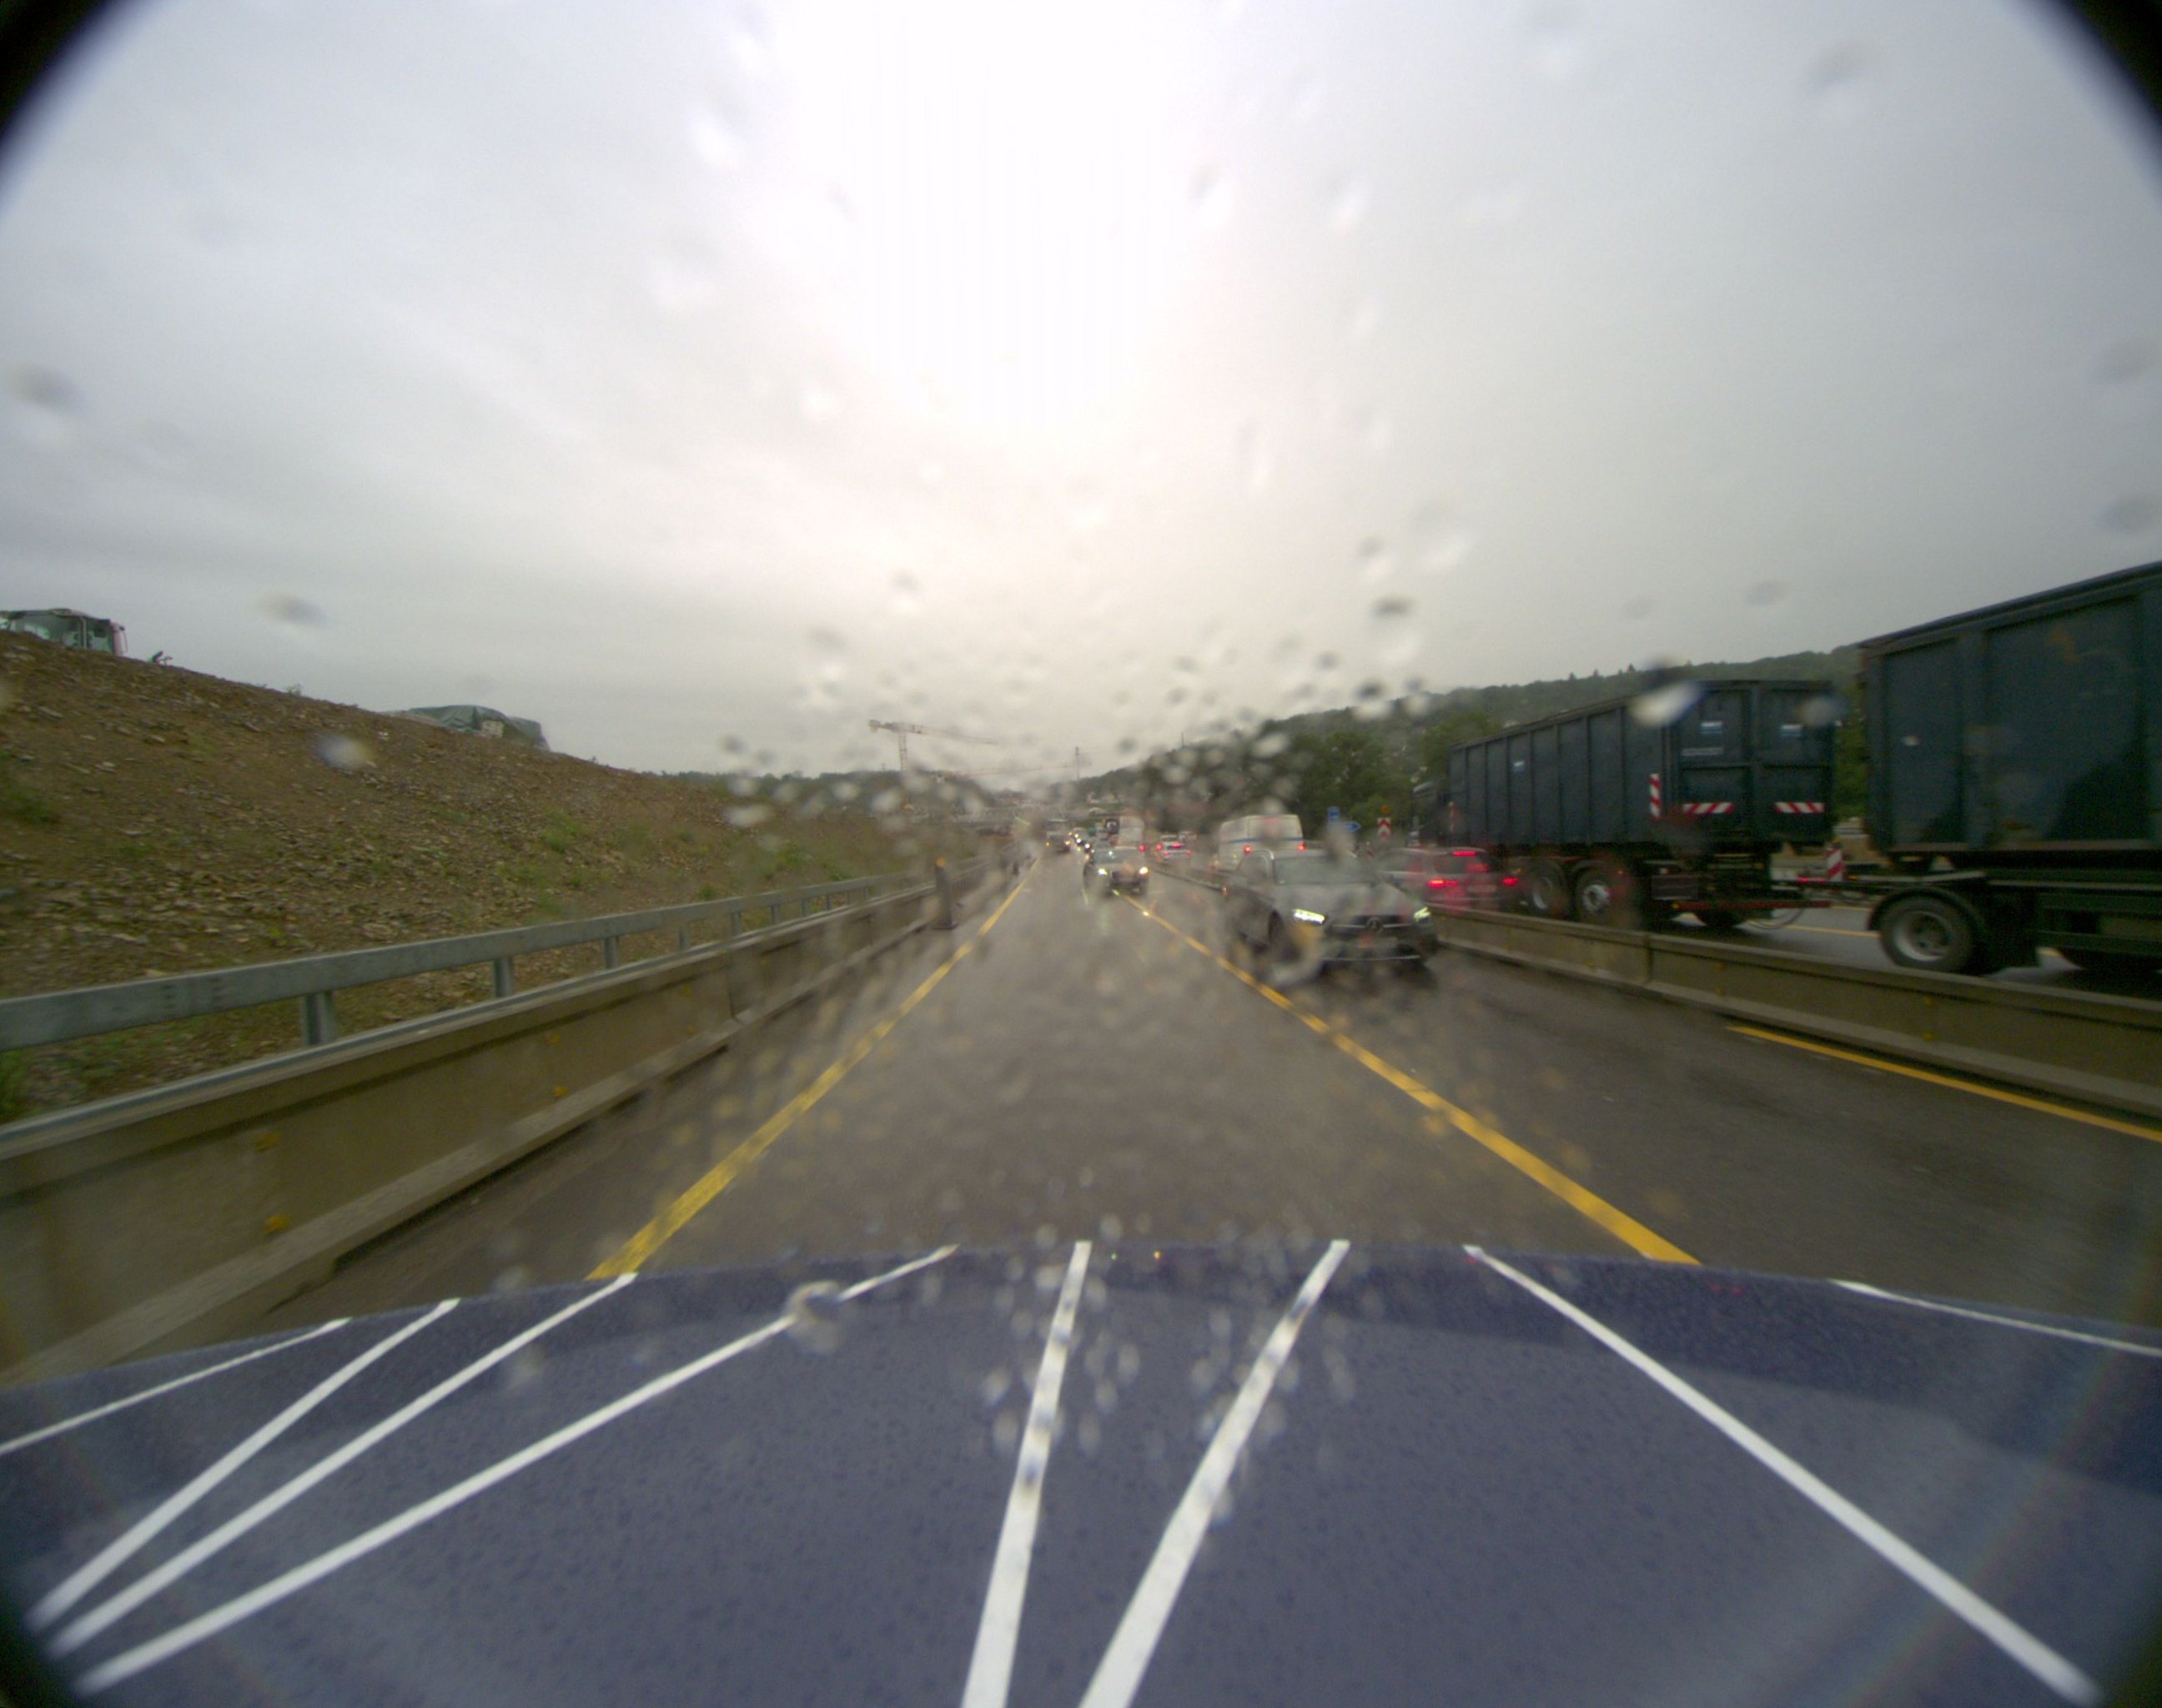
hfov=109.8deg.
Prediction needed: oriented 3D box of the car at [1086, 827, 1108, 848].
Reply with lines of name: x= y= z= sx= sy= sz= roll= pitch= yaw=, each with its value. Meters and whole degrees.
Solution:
car: x=1.542 y=-1.642 z=76.076 sx=1.999 sy=2.002 sz=3.999 roll=-2 pitch=1 yaw=-1

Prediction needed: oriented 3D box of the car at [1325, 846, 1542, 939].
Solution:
car: x=6.556 y=0.609 z=14.813 sx=1.874 sy=1.463 sz=4.669 roll=-2 pitch=1 yaw=-3

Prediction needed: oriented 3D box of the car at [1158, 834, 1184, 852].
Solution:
car: x=8.472 y=-1.072 z=71.835 sx=1.793 sy=1.538 sz=3.998 roll=-2 pitch=2 yaw=-2

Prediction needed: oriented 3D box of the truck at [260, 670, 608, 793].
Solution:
truck: x=-19.973 y=-3.607 z=24.669 sx=3.404 sy=2.859 sz=8.955 roll=-1 pitch=3 yaw=1

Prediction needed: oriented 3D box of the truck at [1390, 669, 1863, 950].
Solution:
truck: x=9.724 y=-0.663 z=15.486 sx=2.649 sy=3.947 sz=9.210 roll=-2 pitch=0 yaw=-3

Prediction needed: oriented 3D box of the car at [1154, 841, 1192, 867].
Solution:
car: x=5.703 y=-0.035 z=47.508 sx=1.681 sy=1.515 sz=4.343 roll=-1 pitch=1 yaw=-2

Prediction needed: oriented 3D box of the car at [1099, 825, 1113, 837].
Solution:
car: x=3.959 y=-3.630 z=118.856 sx=1.871 sy=1.790 sz=4.160 roll=-2 pitch=3 yaw=-2

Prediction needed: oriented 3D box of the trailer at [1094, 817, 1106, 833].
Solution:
trailer: x=4.874 y=-7.656 z=198.645 sx=2.693 sy=3.942 sz=9.812 roll=0 pitch=3 yaw=-2

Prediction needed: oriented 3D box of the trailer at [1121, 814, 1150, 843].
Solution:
trailer: x=7.516 y=-3.649 z=106.725 sx=2.627 sy=3.658 sz=11.995 roll=-2 pitch=3 yaw=-2

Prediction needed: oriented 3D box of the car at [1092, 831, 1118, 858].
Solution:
car: x=1.949 y=-0.794 z=60.699 sx=1.998 sy=2.002 sz=3.999 roll=-1 pitch=2 yaw=3

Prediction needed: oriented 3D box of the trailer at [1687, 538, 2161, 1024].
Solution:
trailer: x=10.185 y=-0.620 z=5.971 sx=2.753 sy=3.947 sz=9.671 roll=-2 pitch=0 yaw=-3

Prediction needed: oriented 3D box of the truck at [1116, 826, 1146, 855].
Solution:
truck: x=4.724 y=-1.386 z=72.562 sx=2.084 sy=2.562 sz=5.957 roll=-2 pitch=3 yaw=-3

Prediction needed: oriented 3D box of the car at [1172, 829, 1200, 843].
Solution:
car: x=13.972 y=-2.431 z=101.245 sx=1.851 sy=1.691 sz=5.036 roll=-2 pitch=3 yaw=-16

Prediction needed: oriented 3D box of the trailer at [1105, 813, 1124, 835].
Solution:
trailer: x=6.617 y=-6.002 z=151.714 sx=2.757 sy=4.020 sz=15.348 roll=-2 pitch=3 yaw=-1

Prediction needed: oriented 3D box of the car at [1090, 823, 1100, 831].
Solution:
car: x=3.090 y=-5.910 z=165.382 sx=1.999 sy=1.749 sz=4.684 roll=-2 pitch=3 yaw=-1

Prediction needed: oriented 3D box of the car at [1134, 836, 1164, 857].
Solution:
car: x=5.353 y=-0.652 z=60.110 sx=1.791 sy=1.530 sz=4.309 roll=-1 pitch=2 yaw=-2

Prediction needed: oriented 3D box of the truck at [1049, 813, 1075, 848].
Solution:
truck: x=-1.964 y=-2.540 z=80.152 sx=2.576 sy=3.452 sz=6.622 roll=-2 pitch=3 yaw=-1

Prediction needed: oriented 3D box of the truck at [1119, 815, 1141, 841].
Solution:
truck: x=7.267 y=-3.945 z=113.345 sx=2.627 sy=3.658 sz=6.590 roll=-2 pitch=3 yaw=-2

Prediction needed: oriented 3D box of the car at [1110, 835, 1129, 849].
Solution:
car: x=4.405 y=-1.361 z=88.214 sx=1.777 sy=1.496 sz=4.676 roll=-1 pitch=2 yaw=-2

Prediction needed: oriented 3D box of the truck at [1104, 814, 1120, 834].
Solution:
truck: x=6.432 y=-6.365 z=159.489 sx=2.757 sy=4.040 sz=6.143 roll=-2 pitch=3 yaw=-1

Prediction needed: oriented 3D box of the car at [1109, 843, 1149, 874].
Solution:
car: x=2.543 y=0.200 z=41.422 sx=1.781 sy=1.430 sz=4.481 roll=-2 pitch=3 yaw=-1

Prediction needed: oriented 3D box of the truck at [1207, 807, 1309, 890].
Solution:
truck: x=6.413 y=-0.233 z=28.427 sx=2.153 sy=2.698 sz=6.013 roll=-2 pitch=1 yaw=-2

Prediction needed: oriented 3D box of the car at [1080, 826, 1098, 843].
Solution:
car: x=0.993 y=-2.512 z=96.546 sx=1.999 sy=2.002 sz=4.186 roll=-2 pitch=1 yaw=-2

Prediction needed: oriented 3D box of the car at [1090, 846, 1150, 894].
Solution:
car: x=1.288 y=0.542 z=26.708 sx=1.781 sy=1.514 sz=4.140 roll=-2 pitch=0 yaw=-1

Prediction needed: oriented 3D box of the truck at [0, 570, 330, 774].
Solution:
truck: x=-24.324 y=-4.459 z=20.315 sx=2.380 sy=4.195 sz=5.975 roll=-2 pitch=3 yaw=-2

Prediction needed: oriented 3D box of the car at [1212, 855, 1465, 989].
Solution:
car: x=3.256 y=0.758 z=10.689 sx=1.952 sy=1.430 sz=4.483 roll=-2 pitch=0 yaw=-1
